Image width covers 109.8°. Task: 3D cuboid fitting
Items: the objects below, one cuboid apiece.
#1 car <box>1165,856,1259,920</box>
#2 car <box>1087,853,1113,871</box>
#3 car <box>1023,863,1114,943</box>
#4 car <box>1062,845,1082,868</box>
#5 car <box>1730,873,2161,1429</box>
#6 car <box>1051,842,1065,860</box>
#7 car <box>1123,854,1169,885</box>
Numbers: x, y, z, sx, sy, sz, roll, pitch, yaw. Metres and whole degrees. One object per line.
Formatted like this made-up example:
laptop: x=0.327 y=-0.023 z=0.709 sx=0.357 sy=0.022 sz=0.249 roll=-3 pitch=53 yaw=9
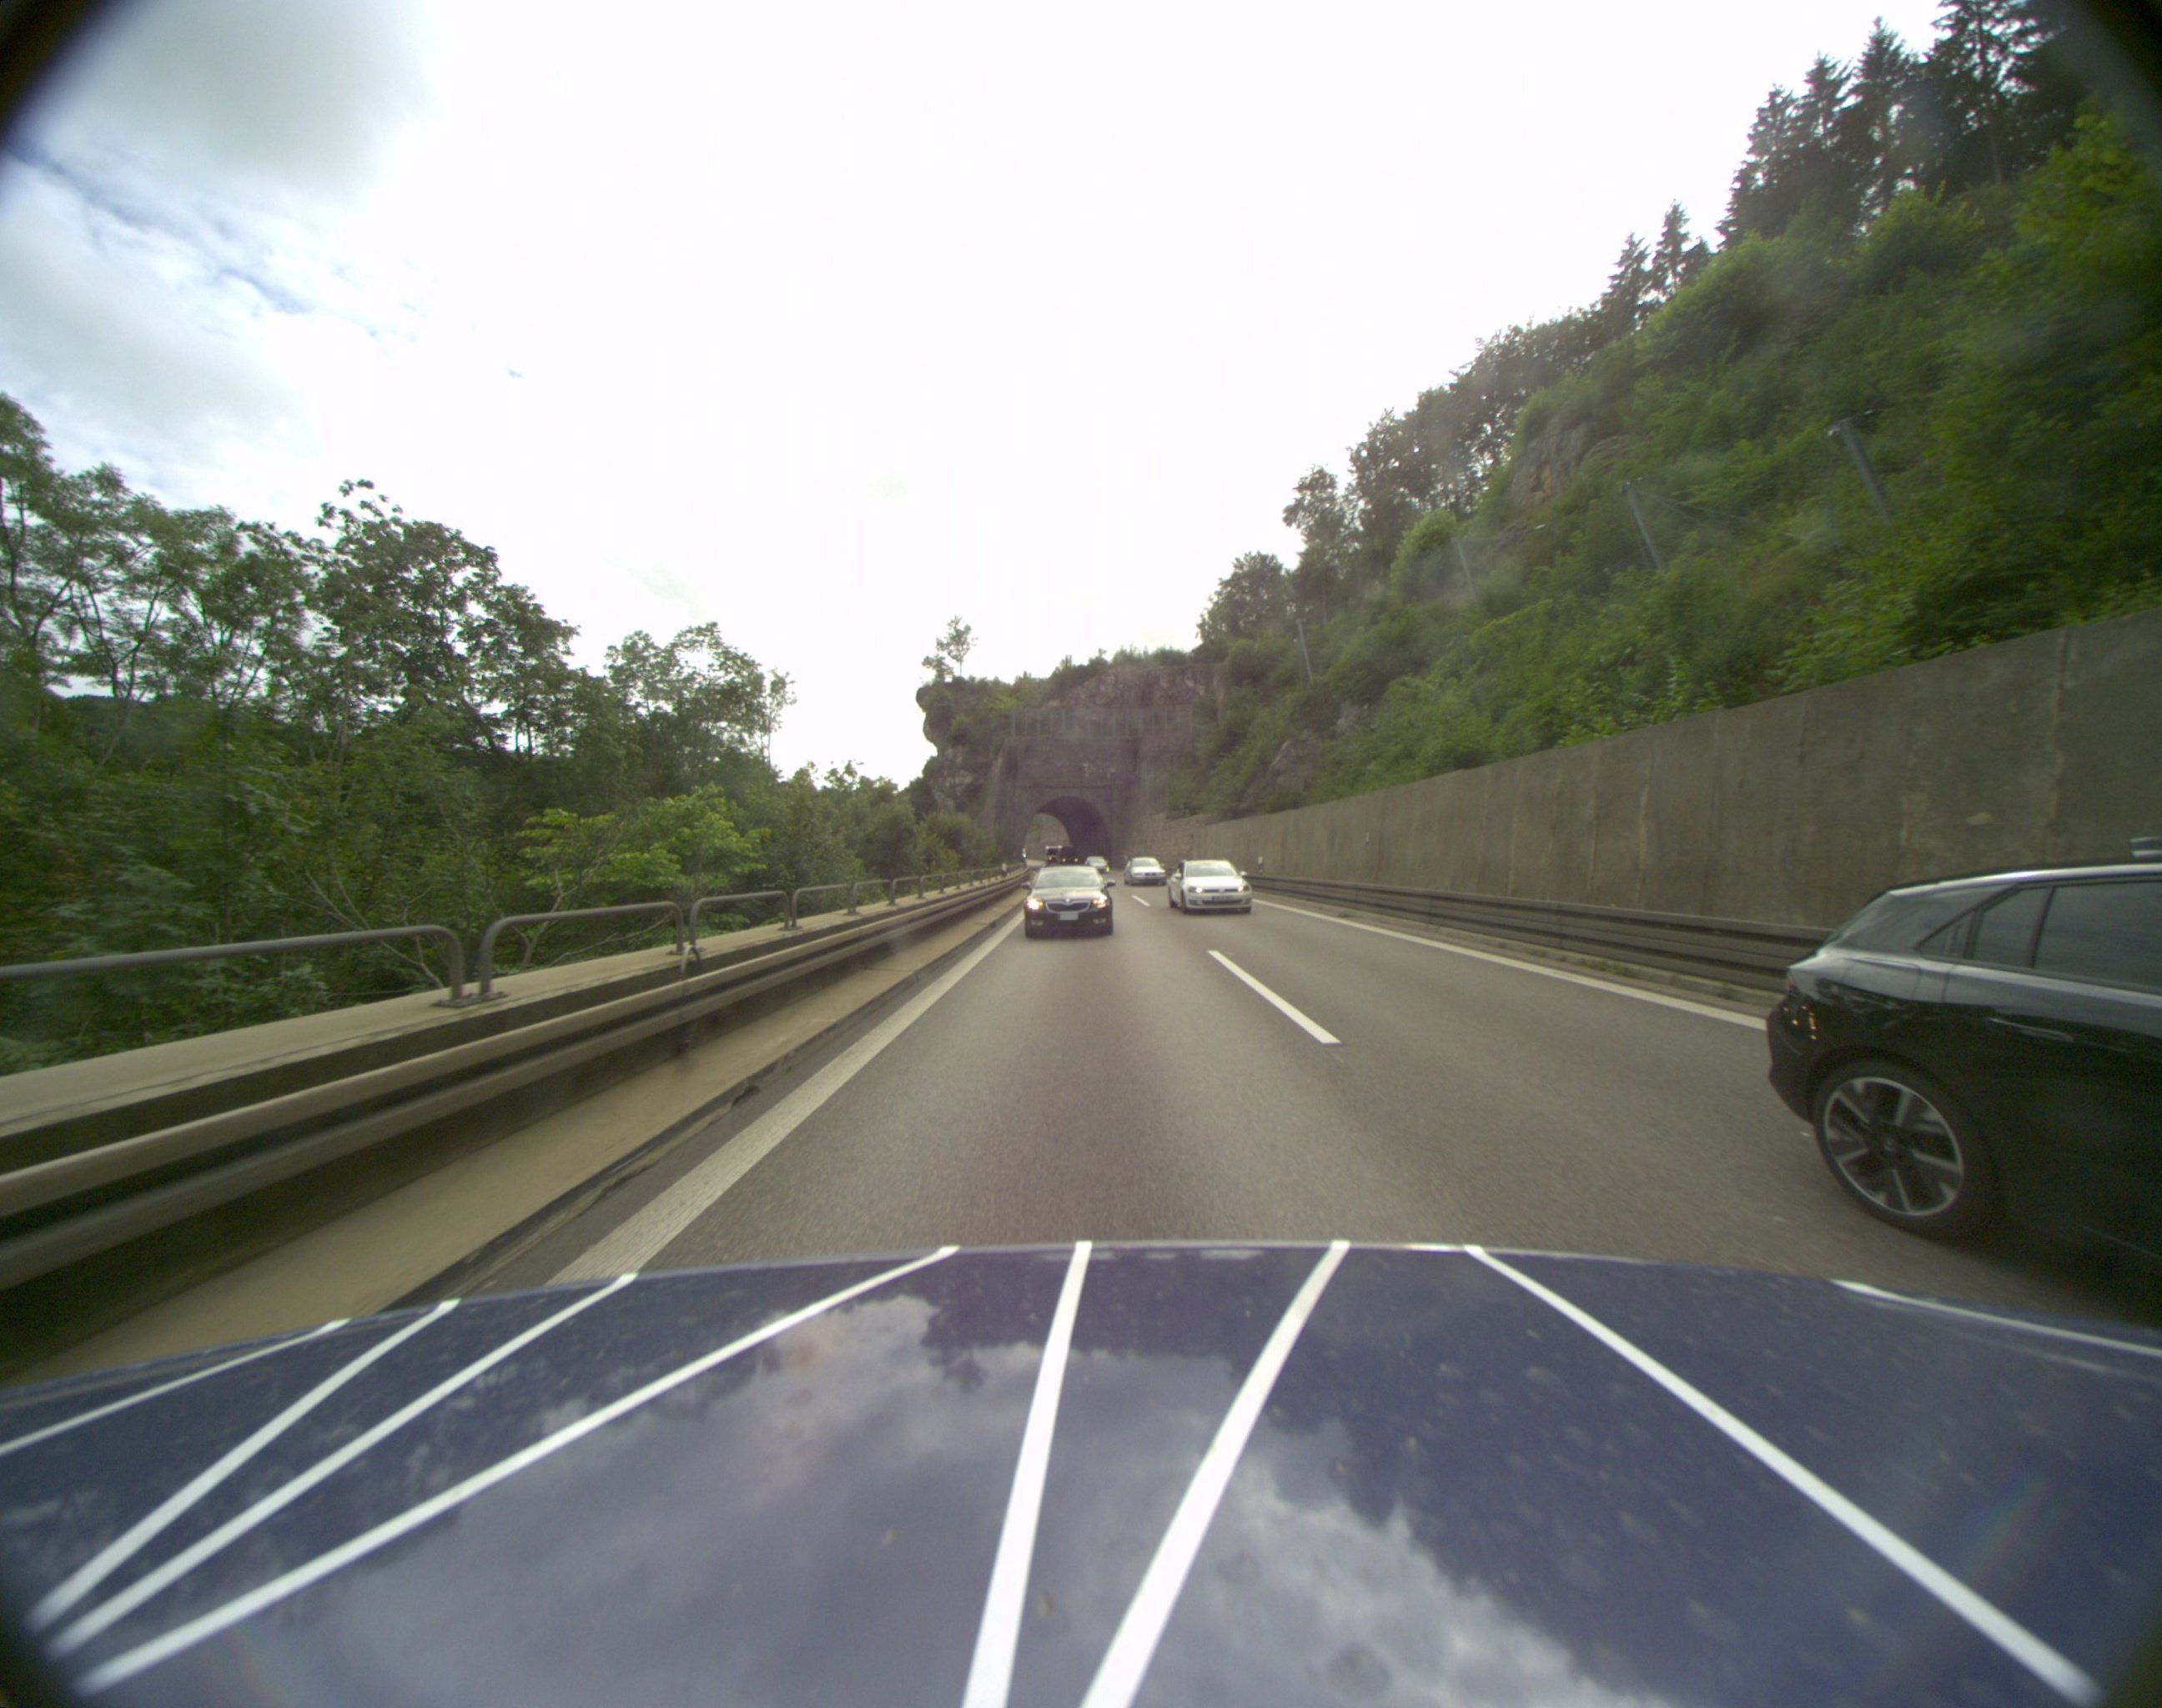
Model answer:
car: x=3.538 y=0.857 z=21.363 sx=1.849 sy=1.473 sz=4.627 roll=-2 pitch=1 yaw=1
car: x=1.617 y=0.701 z=67.223 sx=1.923 sy=1.452 sz=4.230 roll=-3 pitch=0 yaw=-3
car: x=-0.201 y=0.966 z=16.732 sx=1.677 sy=1.418 sz=4.473 roll=-3 pitch=0 yaw=1
car: x=-1.110 y=0.239 z=89.428 sx=1.869 sy=2.444 sz=4.980 roll=-3 pitch=2 yaw=-5
car: x=3.872 y=0.859 z=1.239 sx=1.777 sy=1.452 sz=4.582 roll=-2 pitch=0 yaw=2
car: x=-3.368 y=-0.417 z=110.178 sx=1.869 sy=2.444 sz=4.980 roll=-3 pitch=2 yaw=-3
car: x=3.416 y=0.803 z=40.679 sx=1.833 sy=1.448 sz=5.134 roll=-3 pitch=0 yaw=-1
